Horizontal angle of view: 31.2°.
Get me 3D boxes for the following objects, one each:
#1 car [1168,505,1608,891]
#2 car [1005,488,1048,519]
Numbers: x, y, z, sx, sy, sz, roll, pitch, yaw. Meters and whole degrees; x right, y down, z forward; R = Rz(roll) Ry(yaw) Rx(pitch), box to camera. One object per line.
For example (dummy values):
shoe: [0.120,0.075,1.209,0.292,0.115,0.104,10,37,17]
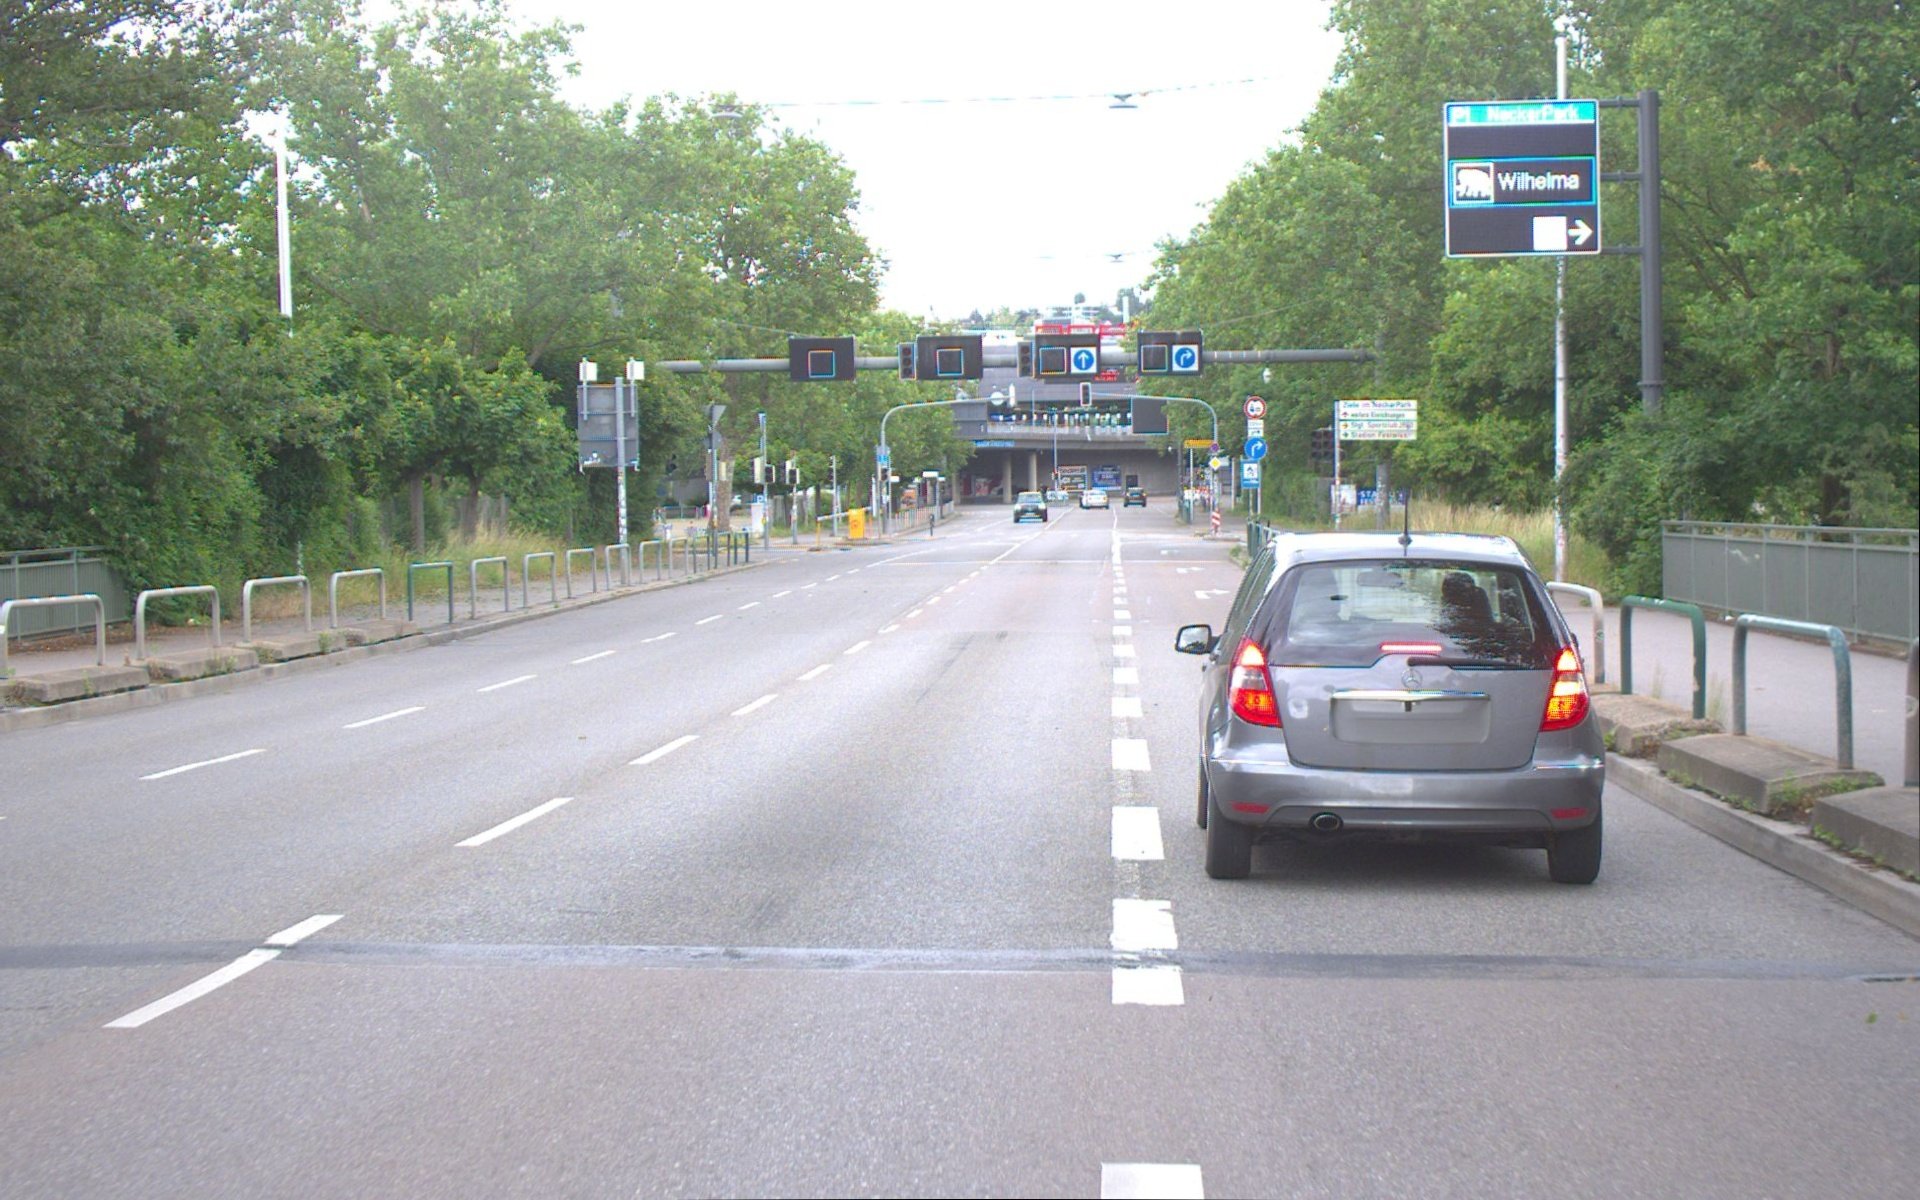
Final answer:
car: [1.971,0.367,16.441,1.826,1.611,4.033,0,1,5]
car: [3.698,-5.372,191.495,1.994,1.654,4.516,-2,2,6]
